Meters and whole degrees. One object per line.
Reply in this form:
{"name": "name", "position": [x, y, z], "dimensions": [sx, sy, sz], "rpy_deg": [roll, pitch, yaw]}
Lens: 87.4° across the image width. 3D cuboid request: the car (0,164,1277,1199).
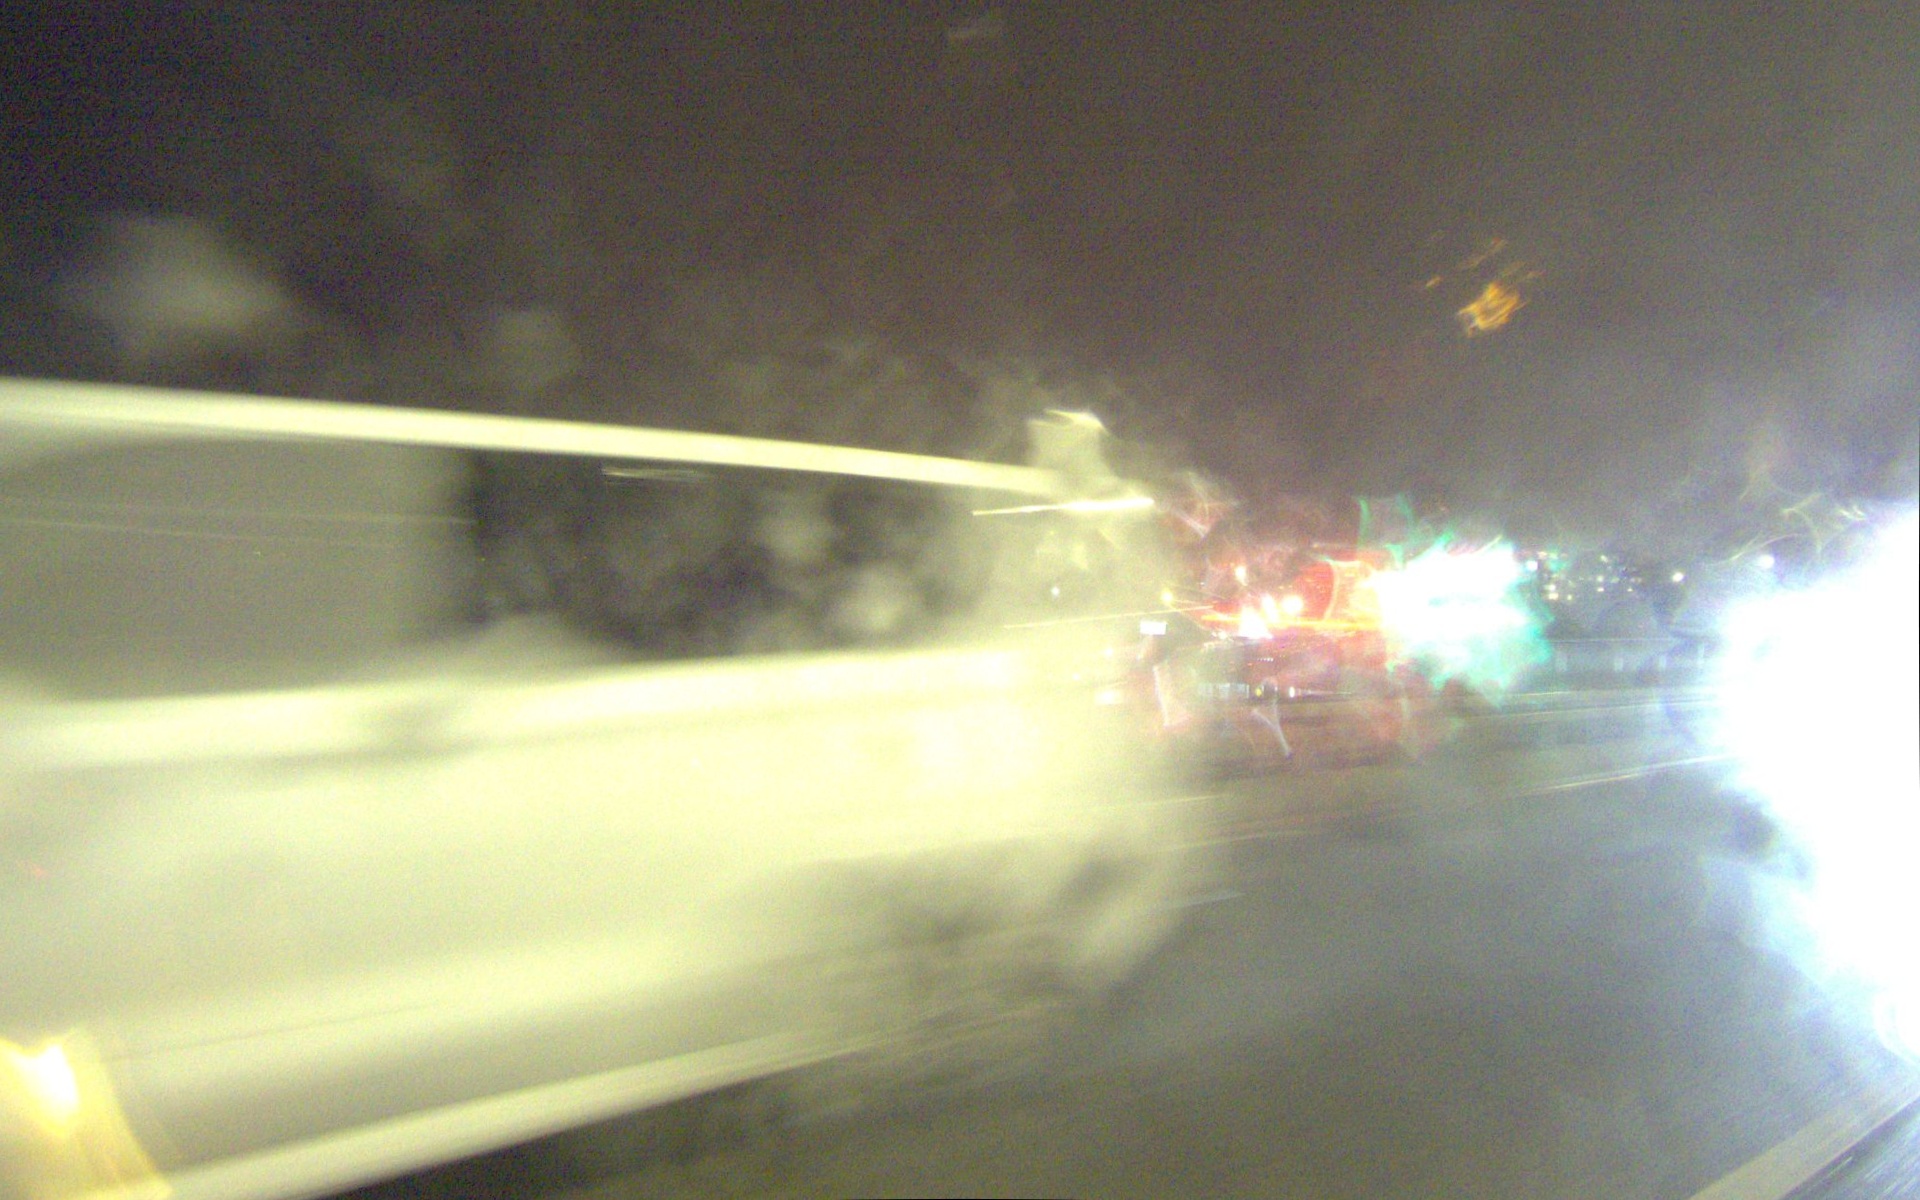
{"name": "car", "position": [-1.674, 0.358, 2.944], "dimensions": [5.092, 2.199, 2.035], "rpy_deg": [2, -1, -29]}
